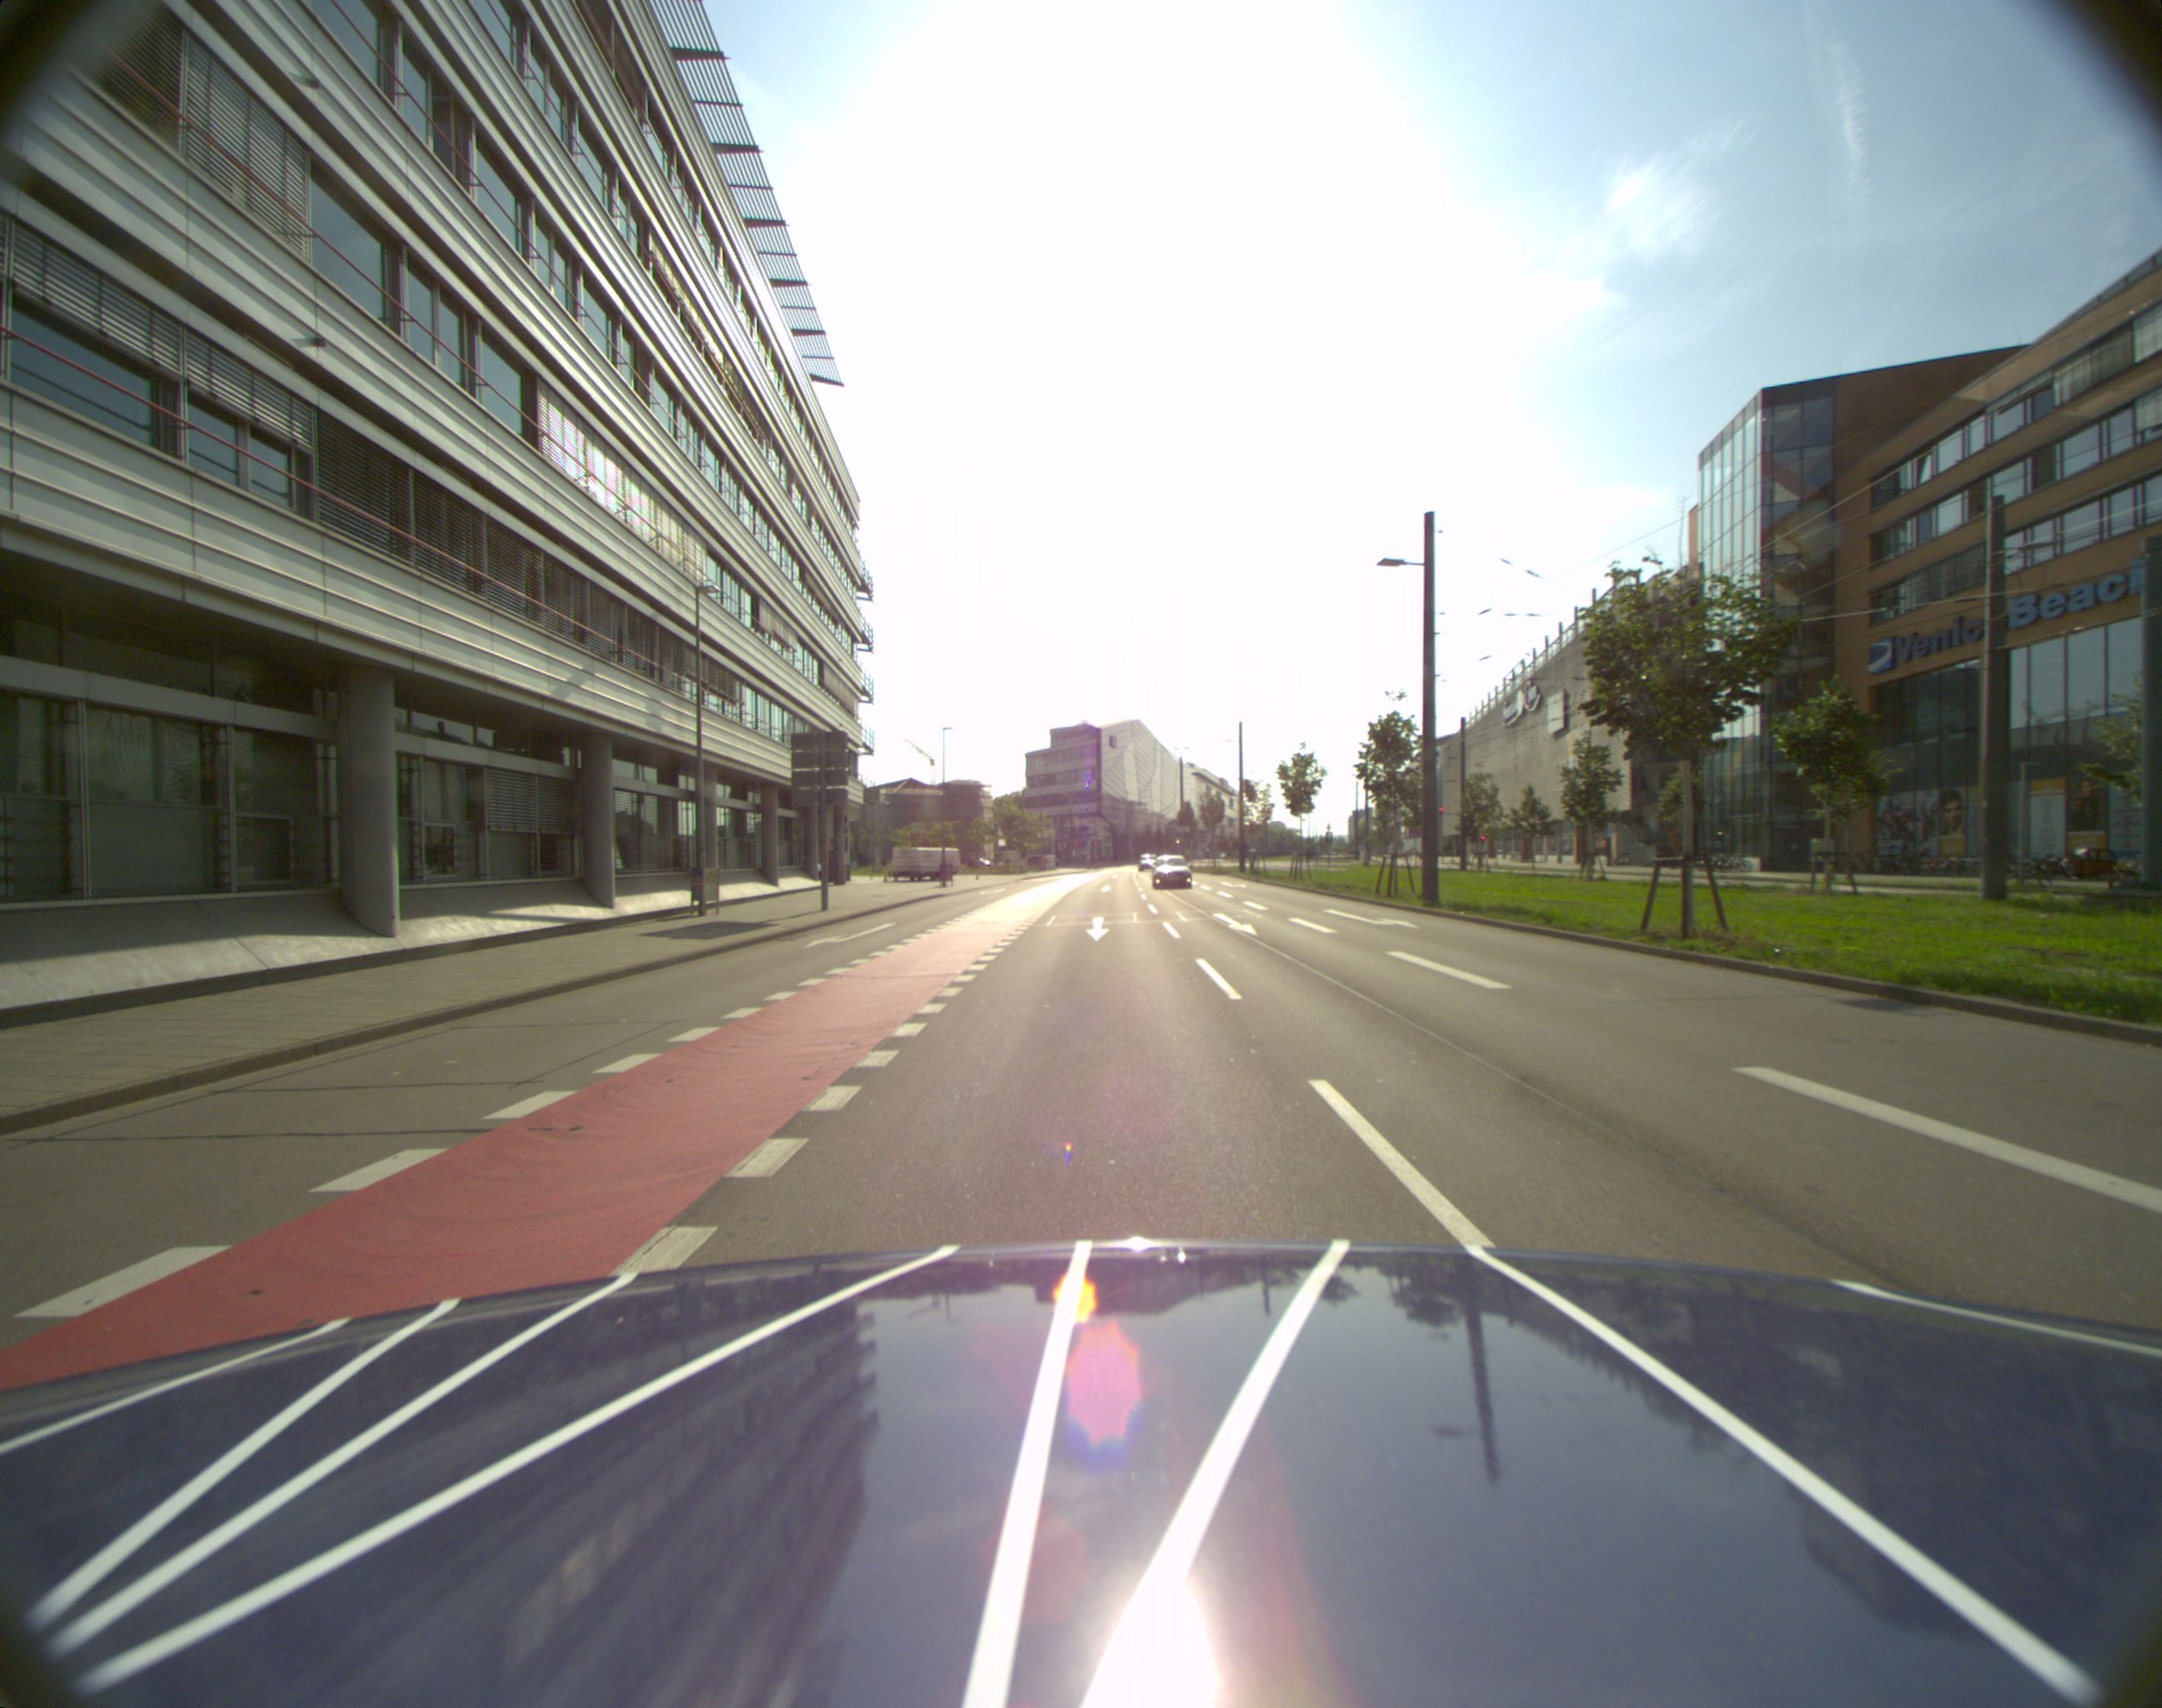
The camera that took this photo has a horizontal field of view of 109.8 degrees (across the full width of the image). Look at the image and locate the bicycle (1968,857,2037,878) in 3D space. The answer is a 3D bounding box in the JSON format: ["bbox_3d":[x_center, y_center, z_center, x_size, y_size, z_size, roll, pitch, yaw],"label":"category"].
[{"bbox_3d":[41.330,0.607,34.108,2.051,0.916,0.574,-1,1,12],"label":"bicycle"}]

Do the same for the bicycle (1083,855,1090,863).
[{"bbox_3d":[0.773,0.714,104.454,0.669,1.092,1.805,0,2,7],"label":"bicycle"}]

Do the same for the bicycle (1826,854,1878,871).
[{"bbox_3d":[43.030,0.455,42.410,2.051,0.916,0.574,-1,1,12],"label":"bicycle"}]

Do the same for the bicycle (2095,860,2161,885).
[{"bbox_3d":[40.320,0.690,29.023,2.051,0.916,0.574,-1,1,12],"label":"bicycle"}]

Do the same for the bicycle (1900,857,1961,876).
[{"bbox_3d":[41.981,0.623,37.571,2.051,0.916,0.574,-1,1,12],"label":"bicycle"}]

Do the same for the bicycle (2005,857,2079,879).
[{"bbox_3d":[41.048,0.586,32.478,2.051,0.916,0.574,-1,1,12],"label":"bicycle"}]

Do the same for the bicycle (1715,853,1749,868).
[{"bbox_3d":[40.653,0.386,47.488,1.581,0.935,0.411,-1,1,16],"label":"bicycle"}]

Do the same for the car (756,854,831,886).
[{"bbox_3d":[-14.890,0.836,39.582,1.746,1.580,4.004,-1,-1,12],"label":"car"}]

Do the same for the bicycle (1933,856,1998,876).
[{"bbox_3d":[41.686,0.552,35.832,2.051,0.916,0.574,-1,1,12],"label":"bicycle"}]

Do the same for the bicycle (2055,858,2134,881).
[{"bbox_3d":[40.820,0.630,30.627,2.051,0.916,0.574,-1,1,12],"label":"bicycle"}]

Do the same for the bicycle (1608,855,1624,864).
[{"bbox_3d":[43.591,0.441,61.874,1.022,0.747,0.361,-1,1,18],"label":"bicycle"}]

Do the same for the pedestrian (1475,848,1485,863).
[{"bbox_3d":[40.785,0.134,77.621,0.762,1.570,0.590,0,1,13],"label":"pedestrian"}]

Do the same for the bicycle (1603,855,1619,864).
[{"bbox_3d":[43.970,0.429,63.005,1.004,0.747,0.453,-1,1,19],"label":"bicycle"}]

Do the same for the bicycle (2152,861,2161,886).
[{"bbox_3d":[40.125,0.696,27.387,2.051,0.916,0.381,-1,1,12],"label":"bicycle"}]

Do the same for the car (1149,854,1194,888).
[{"bbox_3d":[4.039,0.723,34.491,1.643,1.411,3.895,-1,1,1],"label":"car"}]

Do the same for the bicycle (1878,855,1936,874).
[{"bbox_3d":[42.195,0.545,38.828,2.051,0.916,0.574,-1,1,12],"label":"bicycle"}]

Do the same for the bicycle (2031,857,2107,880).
[{"bbox_3d":[40.954,0.618,31.519,2.051,0.916,0.574,-1,1,12],"label":"bicycle"}]

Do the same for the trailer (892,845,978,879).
[{"bbox_3d":[-9.598,0.494,50.553,2.390,2.138,5.960,0,0,28],"label":"trailer"}]

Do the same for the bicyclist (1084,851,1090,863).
[{"bbox_3d":[0.793,0.397,104.536,0.669,1.693,0.637,0,2,7],"label":"bicyclist"}]

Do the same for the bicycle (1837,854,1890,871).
[{"bbox_3d":[42.903,0.480,41.683,2.051,0.916,0.574,-1,1,12],"label":"bicycle"}]

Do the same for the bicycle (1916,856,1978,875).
[{"bbox_3d":[41.807,0.551,36.698,2.051,0.916,0.574,-1,1,12],"label":"bicycle"}]

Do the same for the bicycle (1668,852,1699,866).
[{"bbox_3d":[40.871,0.321,51.528,1.581,0.935,0.473,-1,1,16],"label":"bicycle"}]

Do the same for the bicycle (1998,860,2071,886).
[{"bbox_3d":[35.073,0.681,27.957,1.679,0.902,0.710,-1,1,4],"label":"bicycle"}]

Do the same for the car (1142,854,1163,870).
[{"bbox_3d":[6.270,0.690,67.219,1.587,1.335,3.165,-1,0,1],"label":"car"}]

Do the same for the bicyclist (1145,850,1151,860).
[{"bbox_3d":[11.062,0.172,125.541,0.781,1.577,0.933,0,2,23],"label":"bicyclist"}]
